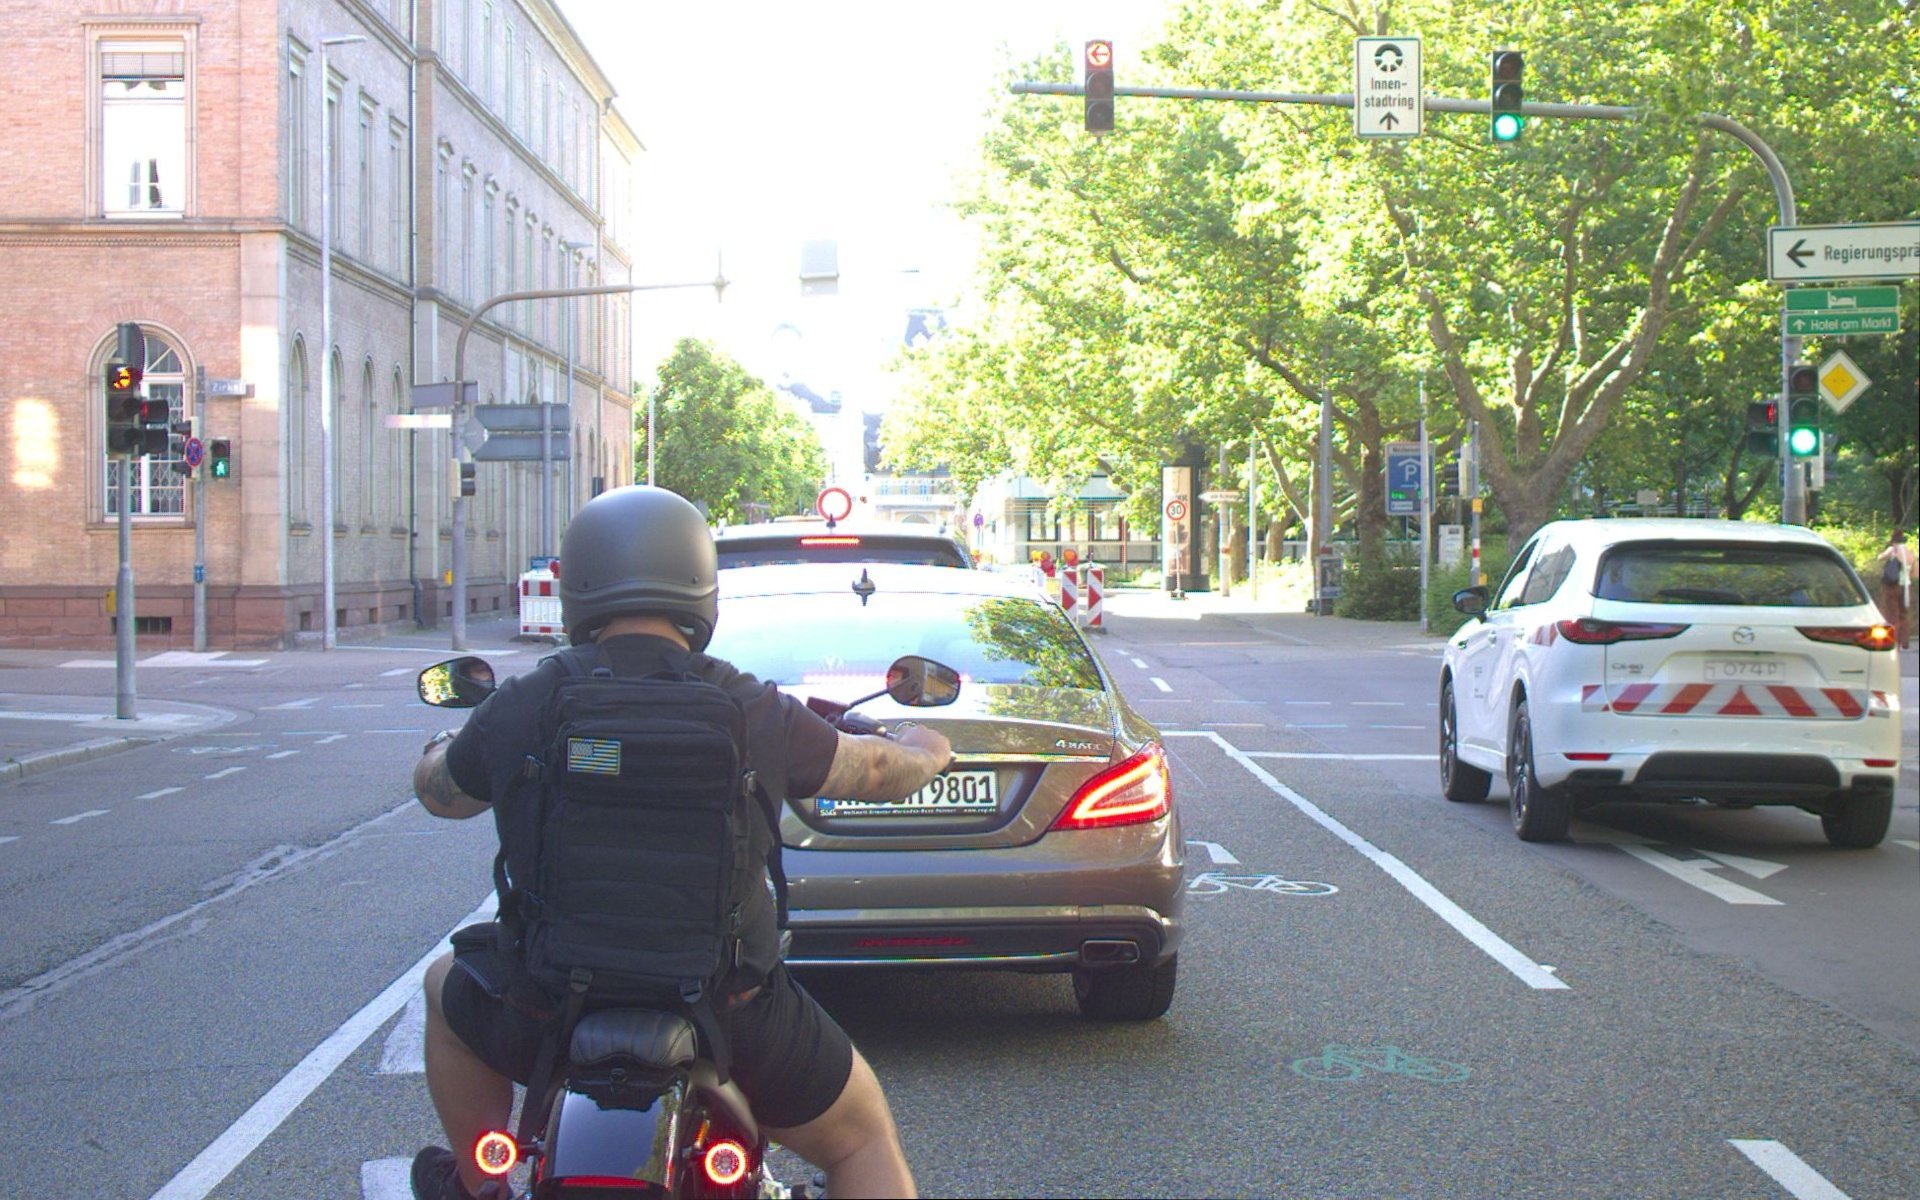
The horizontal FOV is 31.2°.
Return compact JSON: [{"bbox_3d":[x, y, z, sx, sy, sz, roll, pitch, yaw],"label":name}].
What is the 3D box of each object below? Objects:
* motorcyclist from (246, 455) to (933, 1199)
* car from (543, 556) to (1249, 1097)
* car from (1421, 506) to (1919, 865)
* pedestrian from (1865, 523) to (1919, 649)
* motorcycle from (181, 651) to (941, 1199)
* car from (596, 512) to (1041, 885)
[{"bbox_3d":[-0.536,0.567,5.546,0.980,1.573,1.248,0,1,-1],"label":"motorcyclist"},{"bbox_3d":[-0.429,0.585,11.634,1.869,1.439,4.431,0,1,-8],"label":"car"},{"bbox_3d":[3.799,0.369,18.962,1.943,1.702,4.483,1,1,1],"label":"car"},{"bbox_3d":[13.303,-0.203,48.912,0.678,1.766,0.616,1,0,29],"label":"pedestrian"},{"bbox_3d":[-0.529,0.758,5.658,0.980,1.271,2.407,0,1,-1],"label":"motorcycle"},{"bbox_3d":[-0.663,0.427,17.556,1.993,1.660,4.000,1,1,-1],"label":"car"}]
